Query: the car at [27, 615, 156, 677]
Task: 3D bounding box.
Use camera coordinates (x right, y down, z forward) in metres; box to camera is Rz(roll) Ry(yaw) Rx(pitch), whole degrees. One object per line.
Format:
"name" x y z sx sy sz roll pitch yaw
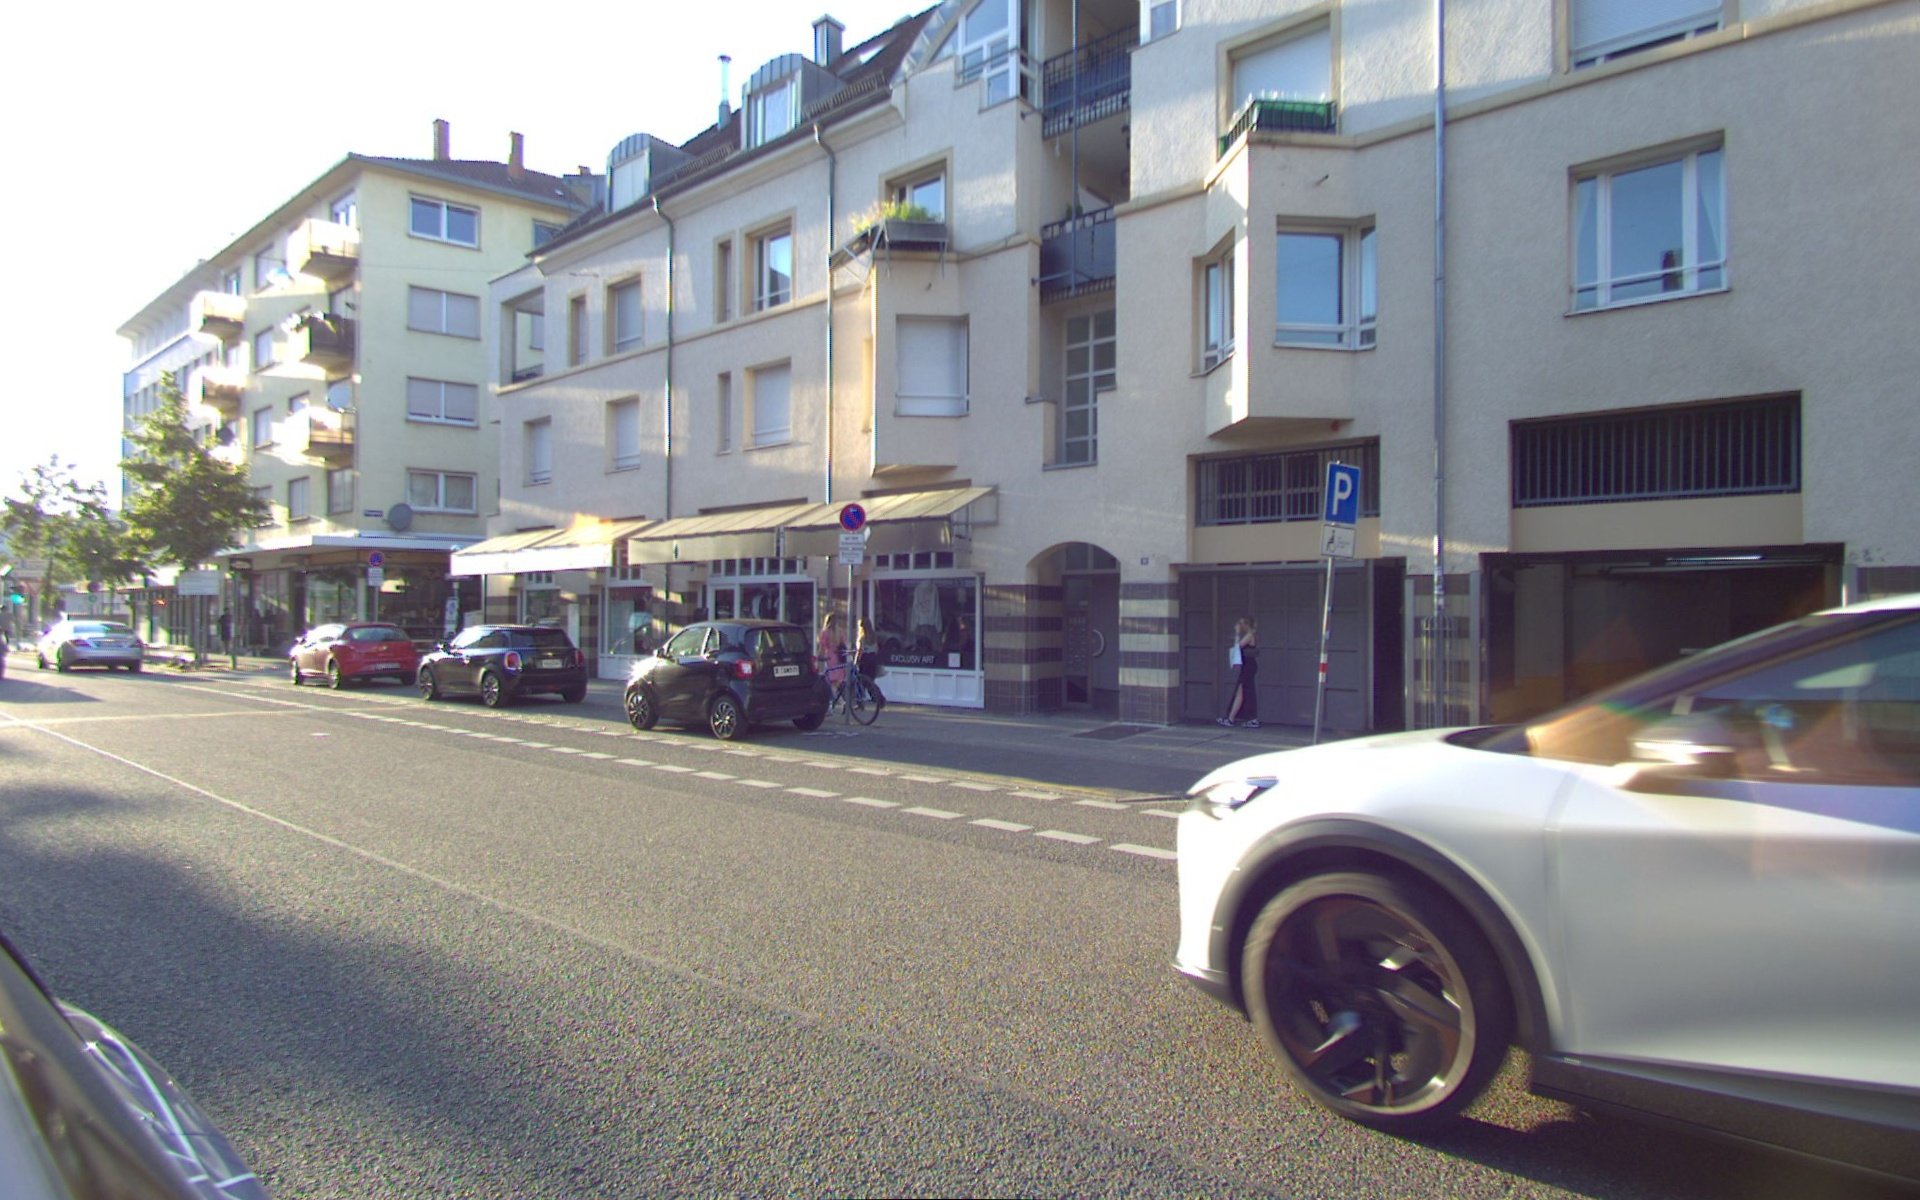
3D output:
"car" -24.665 1.266 28.691 4.400 1.617 1.974 -1 -3 39

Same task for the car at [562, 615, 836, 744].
"car" -3.814 1.026 14.529 3.961 1.592 1.772 -1 -2 38

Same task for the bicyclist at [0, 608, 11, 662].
"bicyclist" -28.449 1.025 29.894 0.803 1.593 0.541 -1 -2 43

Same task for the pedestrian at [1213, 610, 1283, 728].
"pedestrian" 4.004 0.945 14.080 0.765 1.584 0.535 1 -2 -19

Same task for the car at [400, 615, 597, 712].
"car" -8.577 1.097 18.715 3.782 1.592 1.772 -1 -2 38

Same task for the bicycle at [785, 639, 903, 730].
"bicycle" -1.719 1.187 14.754 1.977 1.215 0.552 -1 -2 43

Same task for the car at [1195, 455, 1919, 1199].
"car" 2.949 0.598 2.383 4.321 1.710 1.852 -1 -4 43

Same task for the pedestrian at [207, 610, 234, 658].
"pedestrian" -28.529 1.306 39.052 0.666 1.805 0.710 -1 -1 40

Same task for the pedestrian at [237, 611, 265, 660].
"pedestrian" -26.653 1.328 38.025 0.666 1.805 0.710 -1 -1 40

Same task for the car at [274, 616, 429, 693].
"car" -13.881 1.179 23.028 3.782 1.592 1.772 -1 -2 38

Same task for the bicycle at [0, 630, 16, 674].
"bicycle" -28.441 1.527 29.873 2.130 1.252 0.656 -1 -4 43

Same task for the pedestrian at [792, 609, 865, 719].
"pedestrian" -2.122 1.000 16.301 1.039 1.713 0.624 -1 -2 39

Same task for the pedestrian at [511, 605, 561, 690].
"pedestrian" -8.912 0.982 21.292 0.737 1.747 0.711 -1 -1 40

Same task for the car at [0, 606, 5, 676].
"car" -23.295 0.924 22.894 4.295 1.661 1.820 -1 -4 39

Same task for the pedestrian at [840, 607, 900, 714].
"pedestrian" -1.494 0.980 16.771 0.831 1.713 0.554 -1 -2 39
